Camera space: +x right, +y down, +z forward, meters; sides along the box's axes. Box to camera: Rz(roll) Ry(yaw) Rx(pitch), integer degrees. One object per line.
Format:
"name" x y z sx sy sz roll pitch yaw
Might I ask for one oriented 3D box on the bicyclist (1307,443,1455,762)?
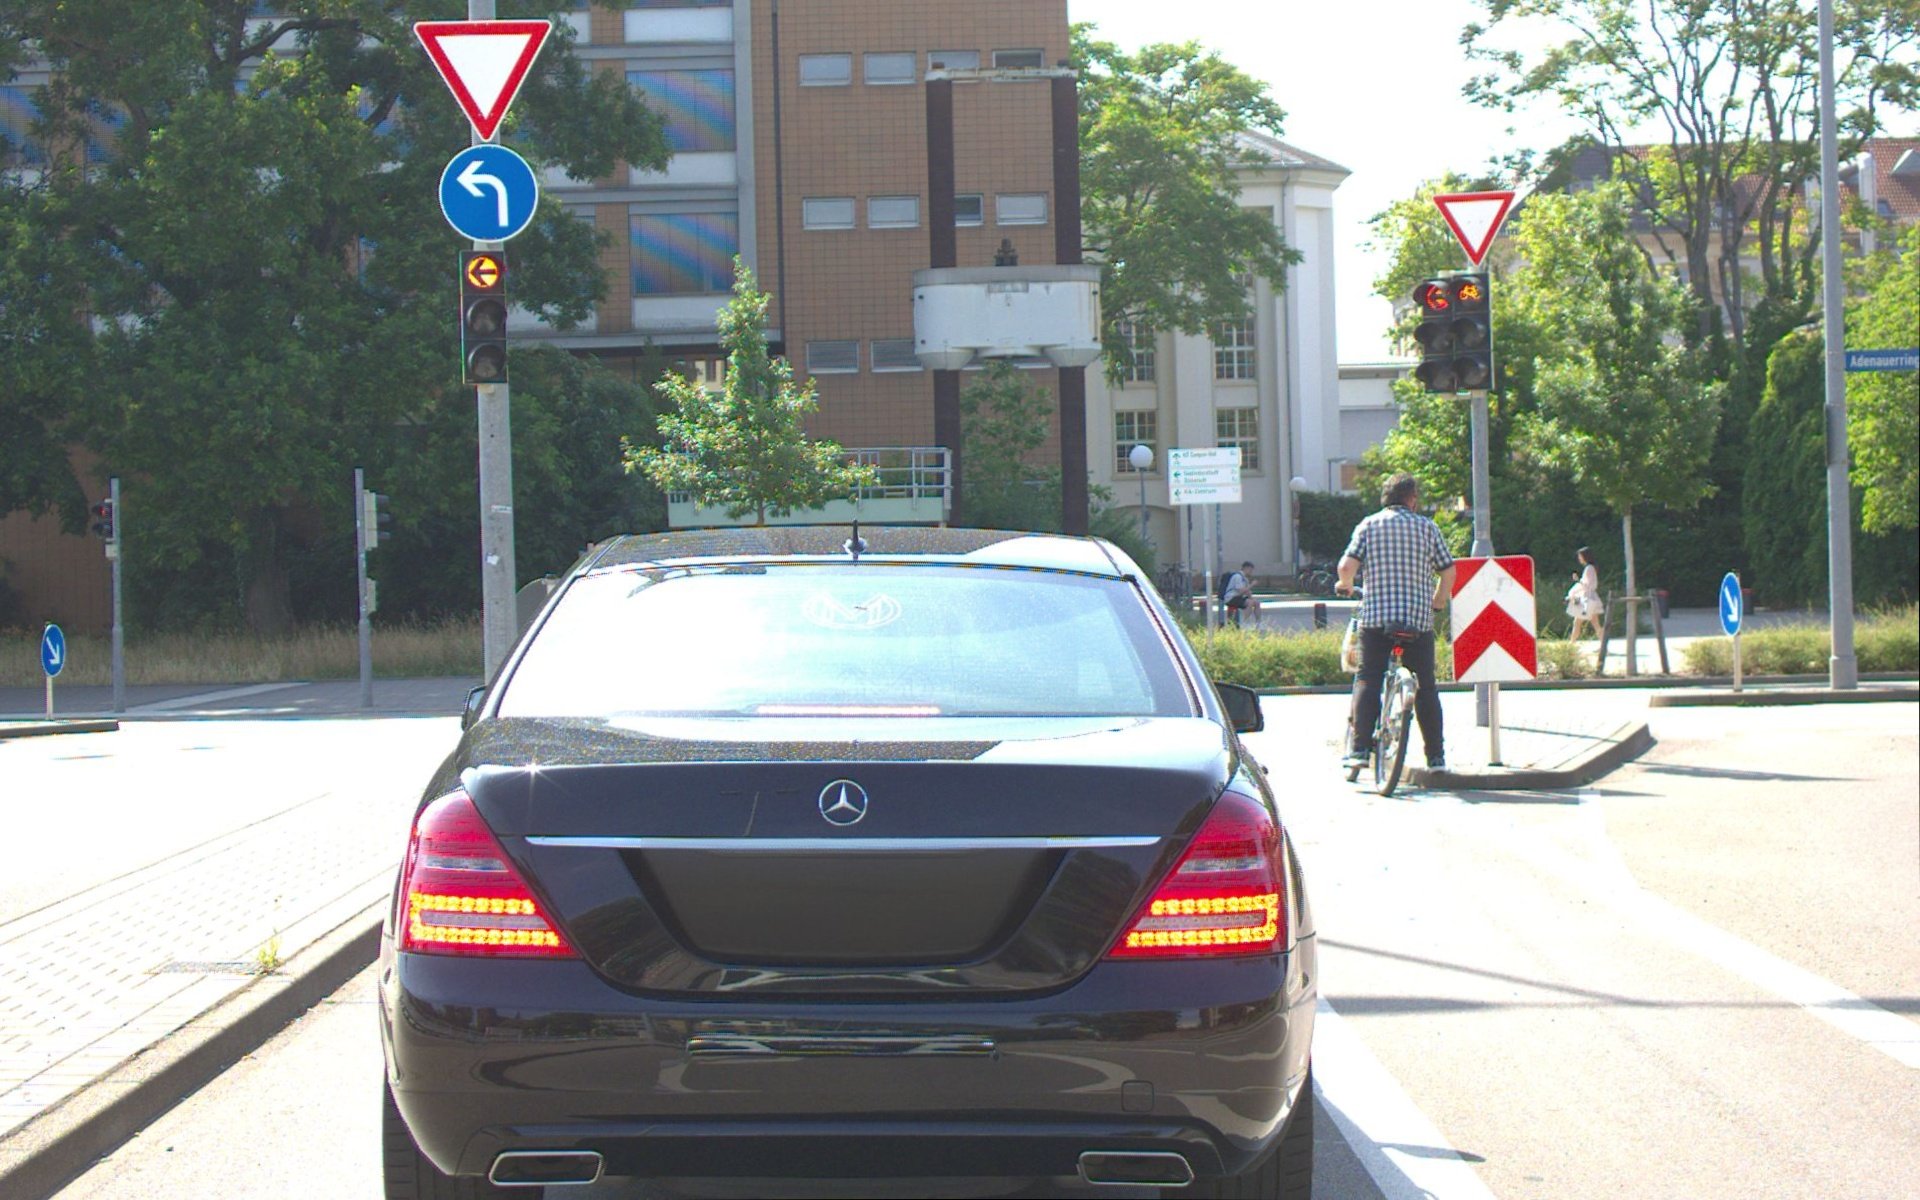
"bicyclist" 2.514 0.009 20.593 0.685 1.872 0.860 0 0 -7

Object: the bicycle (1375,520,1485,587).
"bicycle" 12.816 -1.272 93.782 2.823 1.738 0.842 -2 1 -1

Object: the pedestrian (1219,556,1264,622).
"pedestrian" 5.227 -0.205 63.777 0.793 1.209 0.757 1 0 6

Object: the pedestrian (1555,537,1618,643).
"pedestrian" 9.508 -0.148 52.207 0.811 1.574 0.692 -2 0 2

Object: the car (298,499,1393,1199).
"car" -0.277 0.573 8.219 1.858 1.525 4.714 0 1 -2

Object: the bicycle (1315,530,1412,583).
"bicycle" 12.265 -1.324 104.545 2.823 1.495 0.842 -2 1 -1

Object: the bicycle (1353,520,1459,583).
"bicycle" 12.491 -1.351 96.325 2.823 1.653 0.842 -2 2 -1

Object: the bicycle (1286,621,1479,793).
"bicycle" 2.510 0.617 20.630 0.692 0.943 1.959 1 1 -7

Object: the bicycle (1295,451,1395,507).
"bicycle" 11.442 -3.587 102.169 2.823 1.553 0.842 -2 1 -1

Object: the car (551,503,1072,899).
"car" -0.595 0.370 15.266 1.993 1.503 4.000 1 1 -1

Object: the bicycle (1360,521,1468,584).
"bicycle" 12.554 -1.304 95.075 2.823 1.643 0.842 -2 1 -1

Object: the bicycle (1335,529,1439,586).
"bicycle" 12.214 -1.218 98.337 2.823 1.532 0.842 -2 1 -1

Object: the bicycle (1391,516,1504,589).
"bicycle" 12.979 -1.269 91.522 2.823 1.830 0.842 -2 1 -1
